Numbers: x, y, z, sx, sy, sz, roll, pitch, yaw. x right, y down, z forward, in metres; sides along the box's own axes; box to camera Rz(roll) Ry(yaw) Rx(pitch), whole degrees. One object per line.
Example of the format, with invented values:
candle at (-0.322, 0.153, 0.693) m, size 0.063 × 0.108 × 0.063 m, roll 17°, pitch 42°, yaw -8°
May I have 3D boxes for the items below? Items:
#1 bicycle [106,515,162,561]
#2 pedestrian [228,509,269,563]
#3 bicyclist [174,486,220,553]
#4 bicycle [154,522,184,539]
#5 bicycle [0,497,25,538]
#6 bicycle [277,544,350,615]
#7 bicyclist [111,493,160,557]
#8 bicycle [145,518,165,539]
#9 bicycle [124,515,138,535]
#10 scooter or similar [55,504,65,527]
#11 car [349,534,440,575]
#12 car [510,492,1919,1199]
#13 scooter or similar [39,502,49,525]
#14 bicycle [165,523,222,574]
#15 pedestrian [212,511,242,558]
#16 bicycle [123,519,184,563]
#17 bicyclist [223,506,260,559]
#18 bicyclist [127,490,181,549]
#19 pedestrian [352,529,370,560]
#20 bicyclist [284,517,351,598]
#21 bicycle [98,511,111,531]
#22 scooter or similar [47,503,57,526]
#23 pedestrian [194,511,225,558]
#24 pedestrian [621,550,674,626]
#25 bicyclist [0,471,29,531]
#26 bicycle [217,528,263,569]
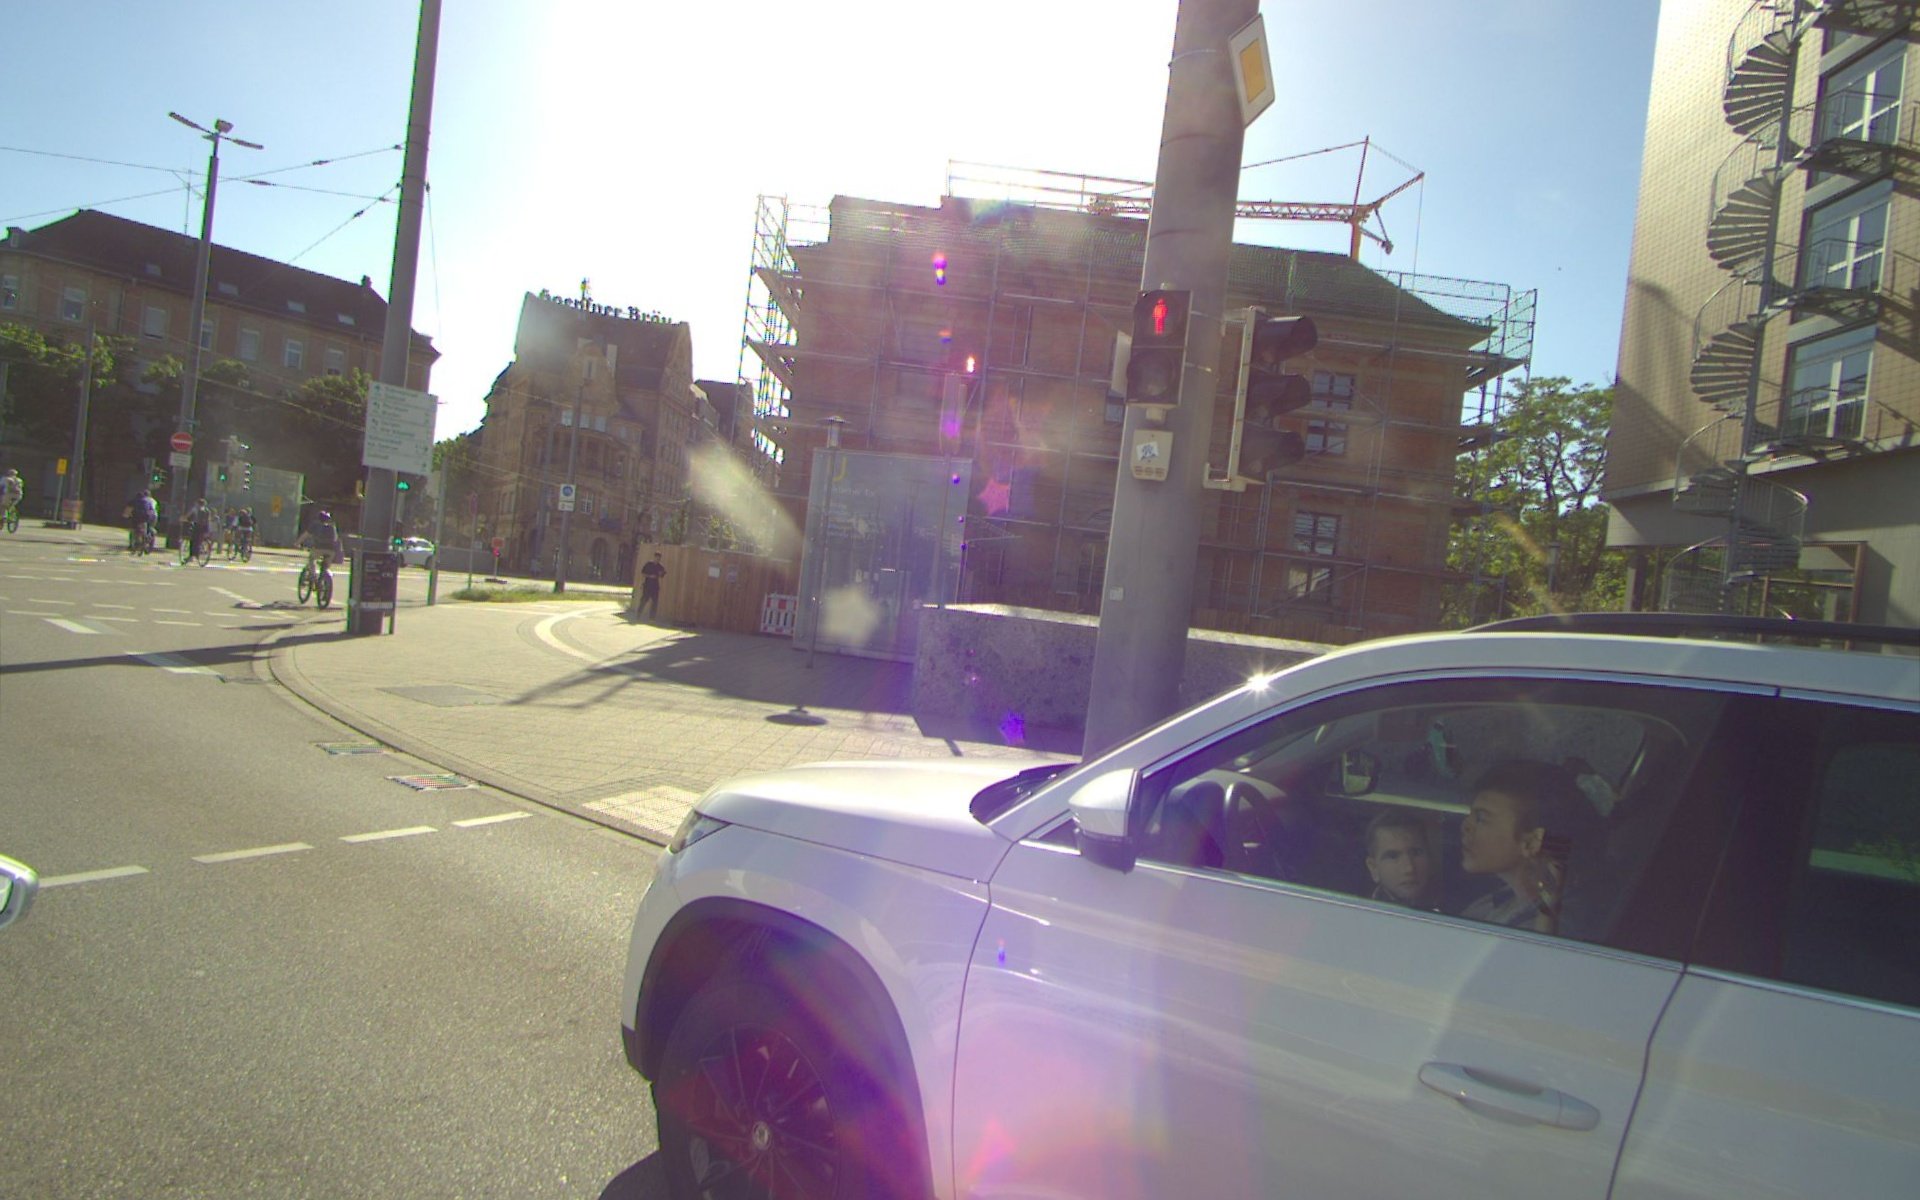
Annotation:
bicycle at (-22.796, -1.709, 27.765) m, size 1.902 × 1.131 × 0.532 m, roll 5°, pitch 0°, yaw 32°
pedestrian at (-28.084, -2.524, 39.682) m, size 1.034 × 1.952 × 0.929 m, roll 6°, pitch -1°, yaw 42°
bicyclist at (-19.973, -2.110, 26.342) m, size 0.938 × 1.632 × 0.550 m, roll 6°, pitch -1°, yaw 35°
bicycle at (-50.759, -4.449, 64.548) m, size 1.411 × 0.866 × 0.400 m, roll 9°, pitch -2°, yaw -38°
bicycle at (-29.029, -2.527, 30.514) m, size 1.904 × 1.130 × 0.532 m, roll 5°, pitch -2°, yaw 36°
bicycle at (-12.726, -0.408, 19.779) m, size 1.837 × 1.172 × 0.531 m, roll 8°, pitch 0°, yaw 38°
bicyclist at (-22.806, -2.069, 27.829) m, size 0.965 × 1.632 × 0.624 m, roll 6°, pitch -1°, yaw 34°
bicycle at (-47.290, -4.199, 59.096) m, size 1.329 × 1.073 × 0.404 m, roll 6°, pitch -1°, yaw 31°
bicycle at (-48.092, -4.342, 58.354) m, size 0.402 × 1.073 × 1.336 m, roll 8°, pitch -2°, yaw -43°
scooter or similar at (-50.110, -4.711, 55.988) m, size 0.269 × 1.210 × 1.546 m, roll 8°, pitch -2°, yaw -43°
car at (-29.830, -2.345, 53.196) m, size 1.882 × 1.640 × 4.255 m, roll 5°, pitch -1°, yaw 8°
car at (1.250, 0.852, 2.171) m, size 4.325 × 1.665 × 1.866 m, roll 7°, pitch 0°, yaw 33°
scooter or similar at (-50.565, -4.773, 55.533) m, size 0.269 × 1.199 × 1.546 m, roll 8°, pitch -2°, yaw -43°
bicycle at (-20.055, -1.351, 26.320) m, size 1.903 × 1.130 × 0.532 m, roll 7°, pitch -1°, yaw 35°
pedestrian at (-29.466, -2.622, 40.433) m, size 0.812 × 1.777 × 0.658 m, roll 6°, pitch -1°, yaw 42°
bicycle at (-24.017, -1.763, 29.954) m, size 1.897 × 1.082 × 0.387 m, roll 8°, pitch 1°, yaw 18°
bicyclist at (-23.804, -2.232, 33.327) m, size 0.938 × 1.632 × 0.598 m, roll 6°, pitch -1°, yaw 37°
bicyclist at (-24.035, -2.396, 29.993) m, size 0.869 × 1.613 × 0.785 m, roll 6°, pitch 0°, yaw 17°
pedestrian at (-38.203, -3.514, 64.170) m, size 0.537 × 1.870 × 0.650 m, roll 7°, pitch -1°, yaw 4°
bicyclist at (-12.607, -0.832, 19.731) m, size 1.021 × 1.438 × 0.674 m, roll 6°, pitch -1°, yaw 38°
bicycle at (-48.874, -4.488, 57.466) m, size 0.401 × 1.073 × 1.467 m, roll 8°, pitch -2°, yaw -38°
scooter or similar at (-50.350, -4.735, 55.762) m, size 0.269 × 1.199 × 1.546 m, roll 8°, pitch -2°, yaw -43°
pedestrian at (-29.353, -2.568, 39.366) m, size 0.812 × 1.696 × 0.658 m, roll 6°, pitch -1°, yaw 42°
pedestrian at (-8.038, -0.309, 25.846) m, size 0.819 × 1.808 × 0.775 m, roll 6°, pitch -1°, yaw 38°
bicyclist at (-28.971, -3.004, 30.524) m, size 1.103 × 1.703 × 0.681 m, roll 6°, pitch -1°, yaw 36°
bicycle at (-23.870, -1.722, 33.347) m, size 1.903 × 1.131 × 0.532 m, roll 9°, pitch 0°, yaw 36°
